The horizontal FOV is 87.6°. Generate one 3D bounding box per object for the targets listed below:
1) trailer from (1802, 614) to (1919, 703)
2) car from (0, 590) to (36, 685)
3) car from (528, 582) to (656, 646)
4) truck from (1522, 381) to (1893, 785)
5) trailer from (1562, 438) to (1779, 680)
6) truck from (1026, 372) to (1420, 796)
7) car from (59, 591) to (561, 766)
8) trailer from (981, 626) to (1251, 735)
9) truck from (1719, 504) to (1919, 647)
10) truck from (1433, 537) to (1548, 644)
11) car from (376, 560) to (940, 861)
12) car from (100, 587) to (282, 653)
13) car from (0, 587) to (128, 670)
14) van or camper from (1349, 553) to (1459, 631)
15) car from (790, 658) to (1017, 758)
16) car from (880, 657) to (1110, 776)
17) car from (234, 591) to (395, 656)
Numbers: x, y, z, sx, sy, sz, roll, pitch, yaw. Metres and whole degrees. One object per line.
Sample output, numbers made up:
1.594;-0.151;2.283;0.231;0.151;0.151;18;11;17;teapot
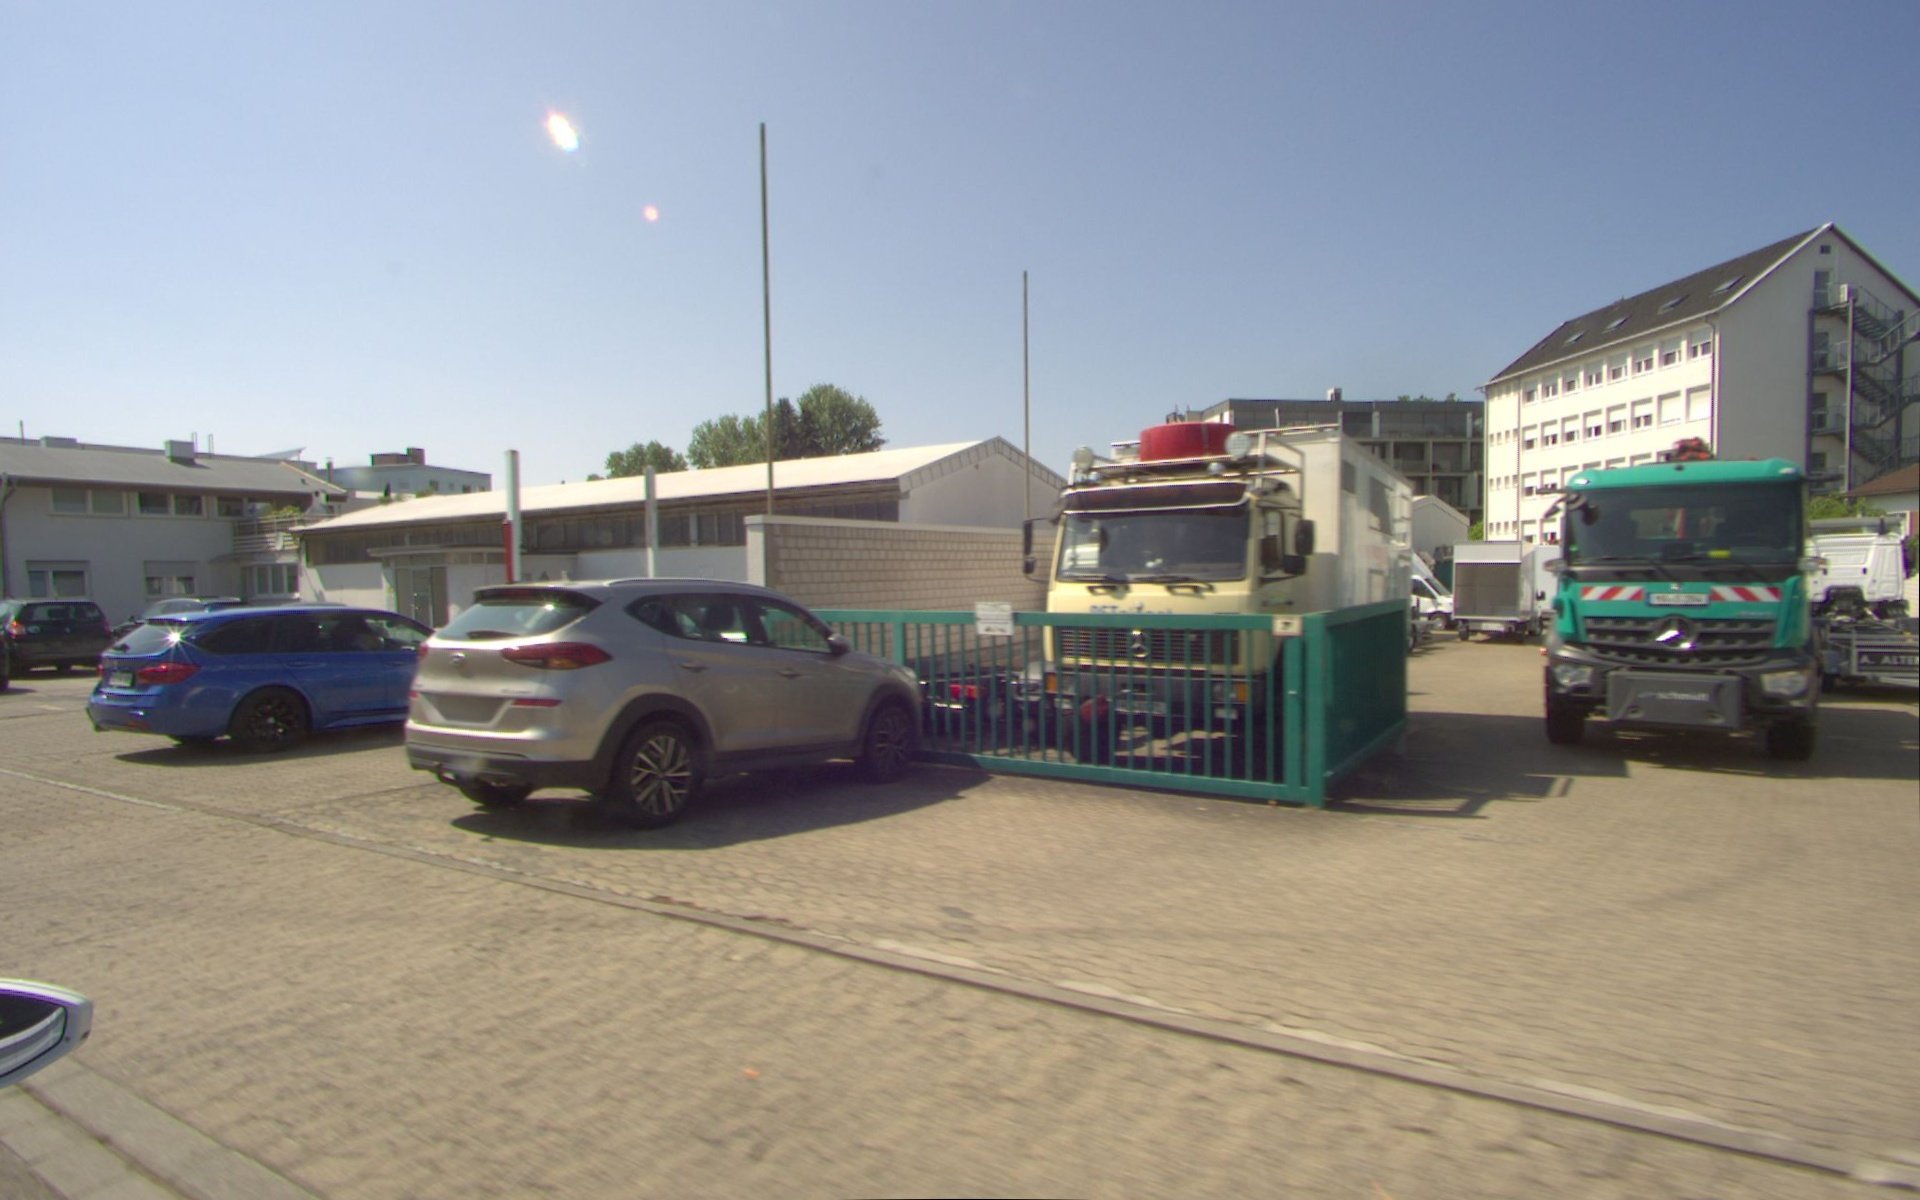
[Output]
16.248;0.952;17.379;1.971;1.331;3.684;0;0;32;trailer
-18.360;0.636;17.561;4.878;1.589;1.854;0;2;31;car
-8.767;0.264;23.664;1.694;1.342;4.154;-2;2;-37;car
9.546;-0.216;13.324;2.913;3.660;8.251;0;1;34;truck
14.518;-0.758;20.446;3.028;3.915;8.301;0;2;37;trailer
3.665;-0.015;12.055;2.490;3.467;7.506;0;-1;32;truck
-6.964;0.687;11.271;1.864;1.461;4.343;0;2;31;car
2.725;1.131;16.058;2.266;1.212;5.448;0;1;33;trailer
22.735;-0.570;26.680;3.949;3.523;1.852;0;-1;37;truck
18.644;-0.193;35.005;2.887;3.406;5.669;0;-1;35;truck
-2.006;0.736;7.937;1.741;1.703;4.197;0;-3;31;car
-19.663;0.499;25.611;4.078;1.517;1.760;-1;3;21;car
-19.447;0.573;21.341;3.570;1.615;1.755;1;-1;35;car
18.322;-0.352;41.356;3.942;3.062;1.988;0;3;32;van or camper
-0.572;1.204;11.916;1.269;0.926;2.892;0;-1;32;car
0.490;1.195;11.081;1.269;1.016;2.892;0;-1;32;car
-14.735;0.480;22.796;4.044;1.342;1.637;0;2;35;car
